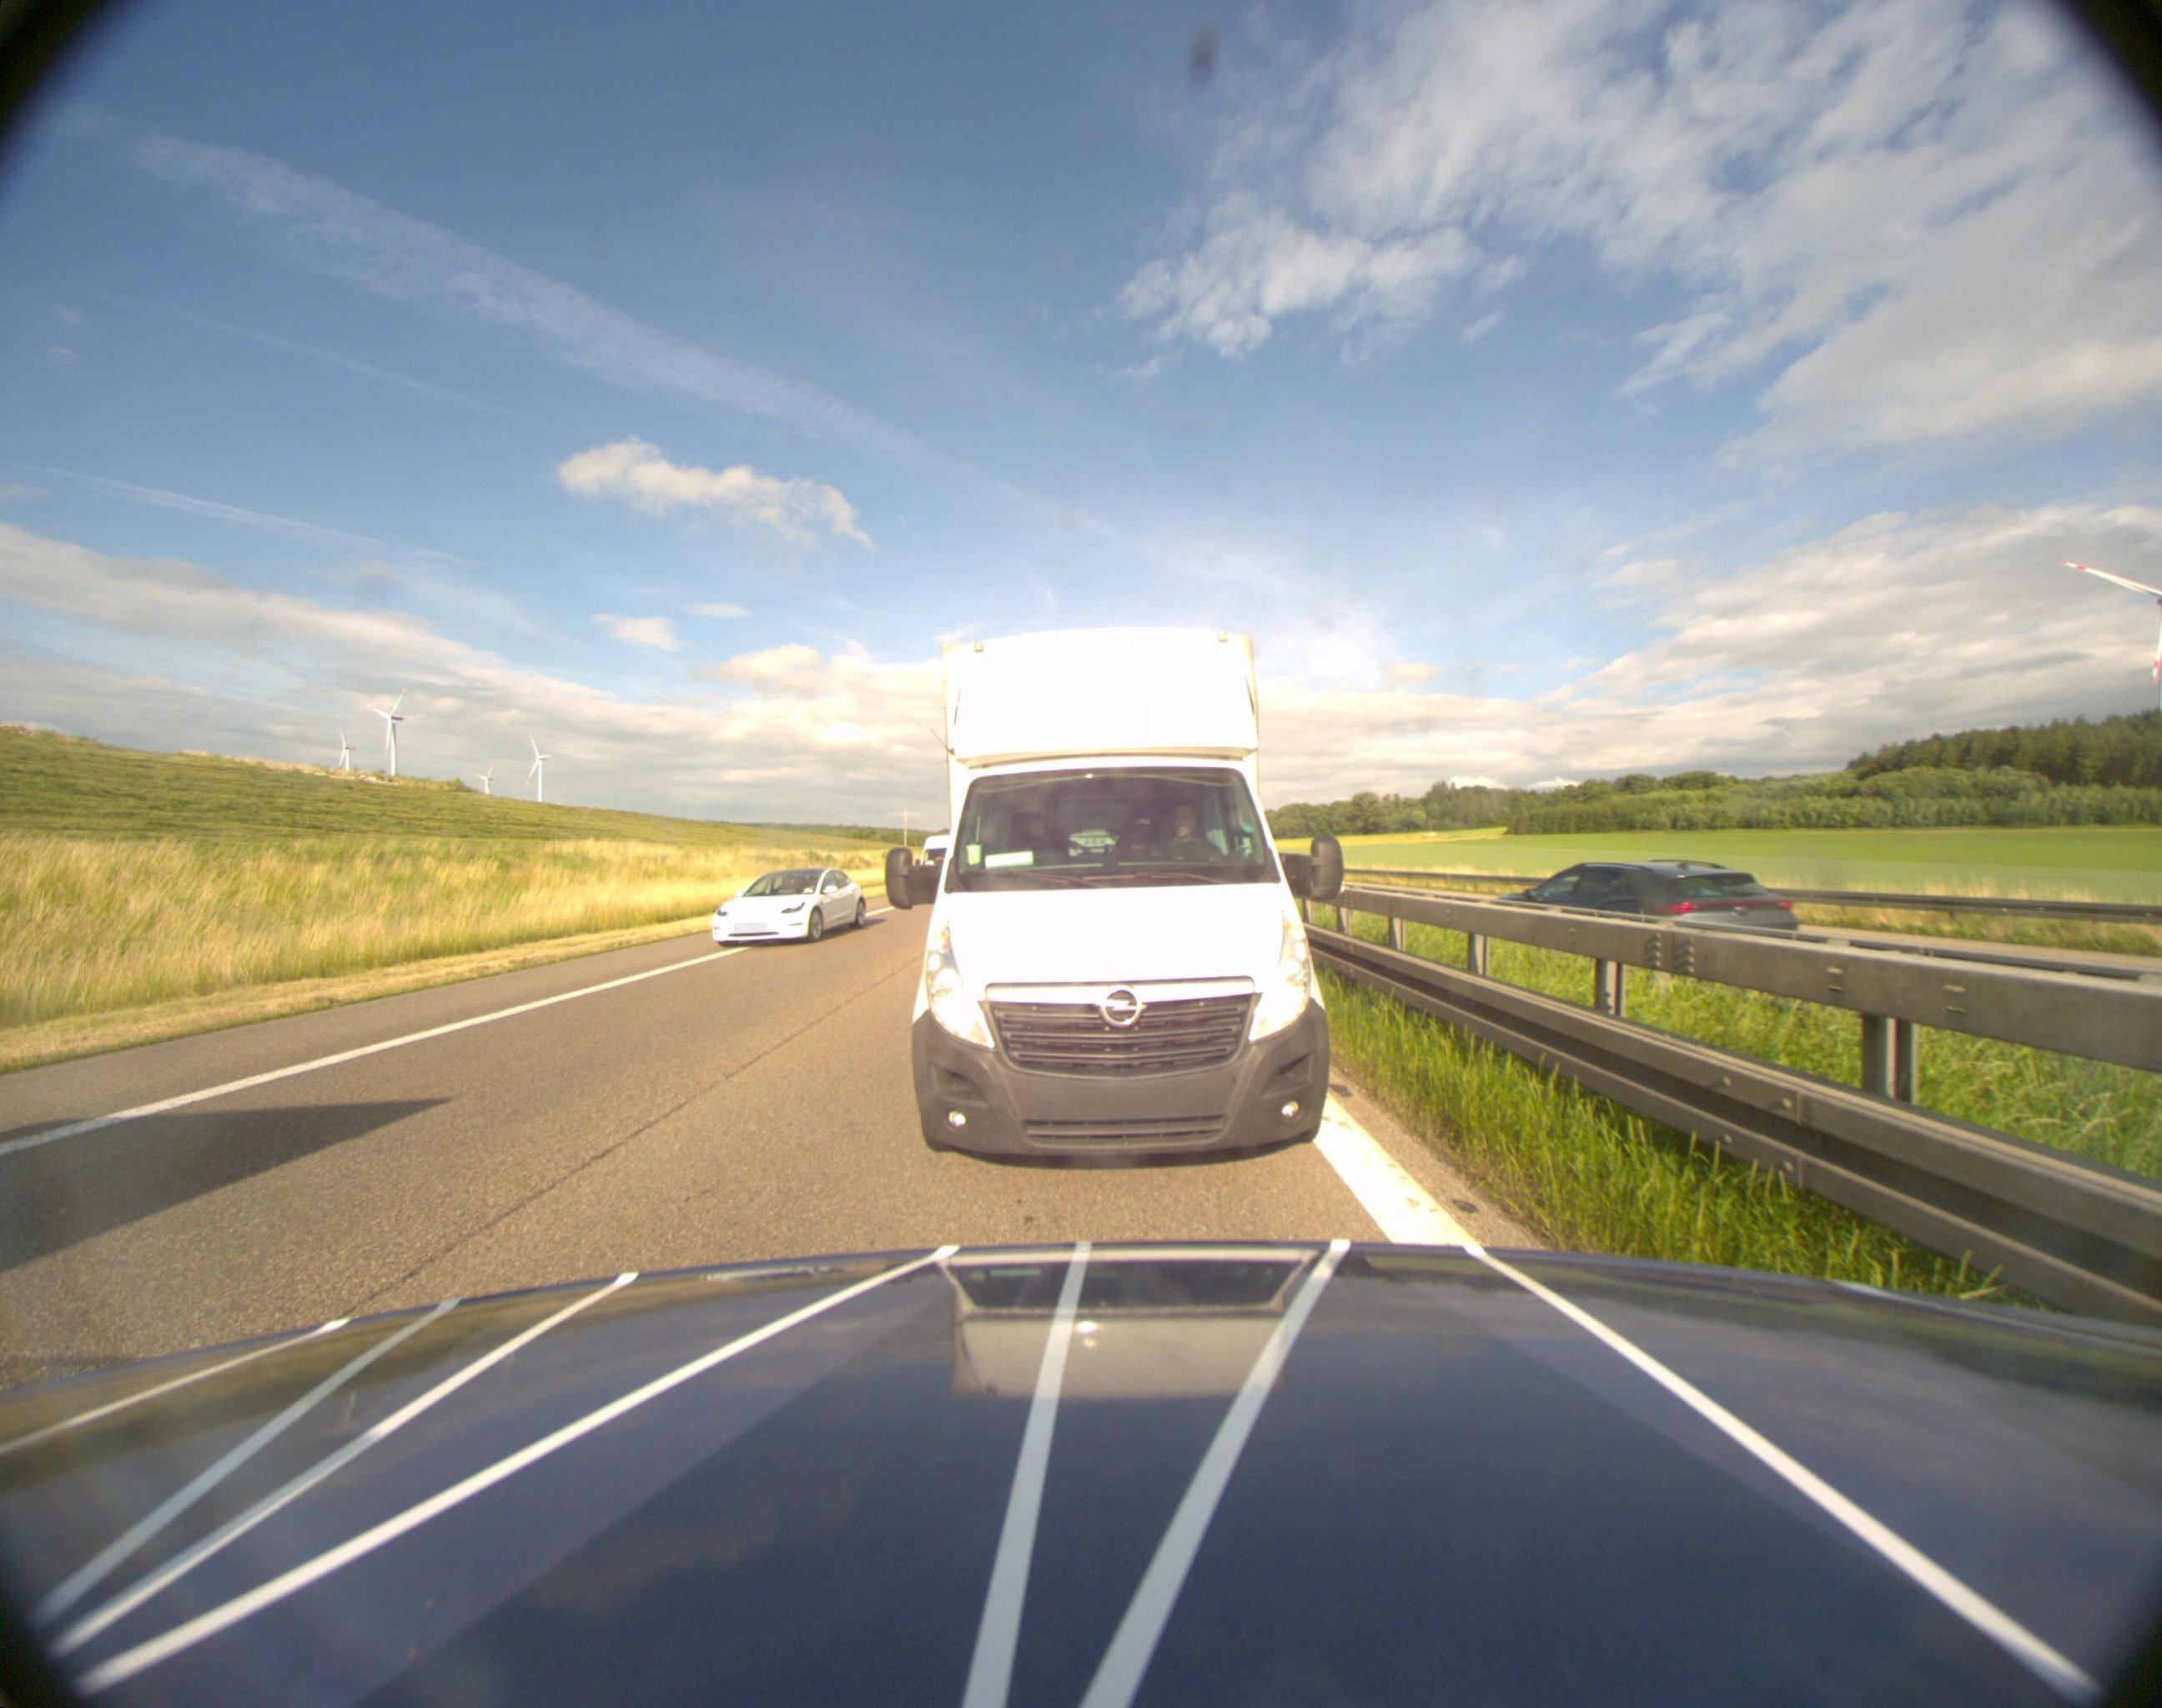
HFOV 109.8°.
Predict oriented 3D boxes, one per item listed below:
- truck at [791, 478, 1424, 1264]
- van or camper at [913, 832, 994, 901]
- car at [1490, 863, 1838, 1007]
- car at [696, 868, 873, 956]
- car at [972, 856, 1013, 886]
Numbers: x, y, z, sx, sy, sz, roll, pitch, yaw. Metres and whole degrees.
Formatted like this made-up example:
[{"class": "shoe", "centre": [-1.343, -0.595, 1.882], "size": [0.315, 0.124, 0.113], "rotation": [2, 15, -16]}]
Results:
[{"class": "truck", "centre": [0.106, 0.083, 8.678], "size": [2.502, 3.141, 11.162], "rotation": [-1, 0, 0]}, {"class": "van or camper", "centre": [-5.096, 0.423, 31.354], "size": [2.102, 2.530, 6.412], "rotation": [-1, 1, 1]}, {"class": "car", "centre": [7.558, 0.925, 10.445], "size": [1.737, 1.476, 3.999], "rotation": [-1, 1, 1]}, {"class": "car", "centre": [-5.928, 1.083, 15.867], "size": [1.871, 1.409, 4.461], "rotation": [-1, 1, 1]}, {"class": "car", "centre": [-4.777, 0.881, 41.520], "size": [1.650, 1.485, 3.999], "rotation": [-1, 1, 1]}]
